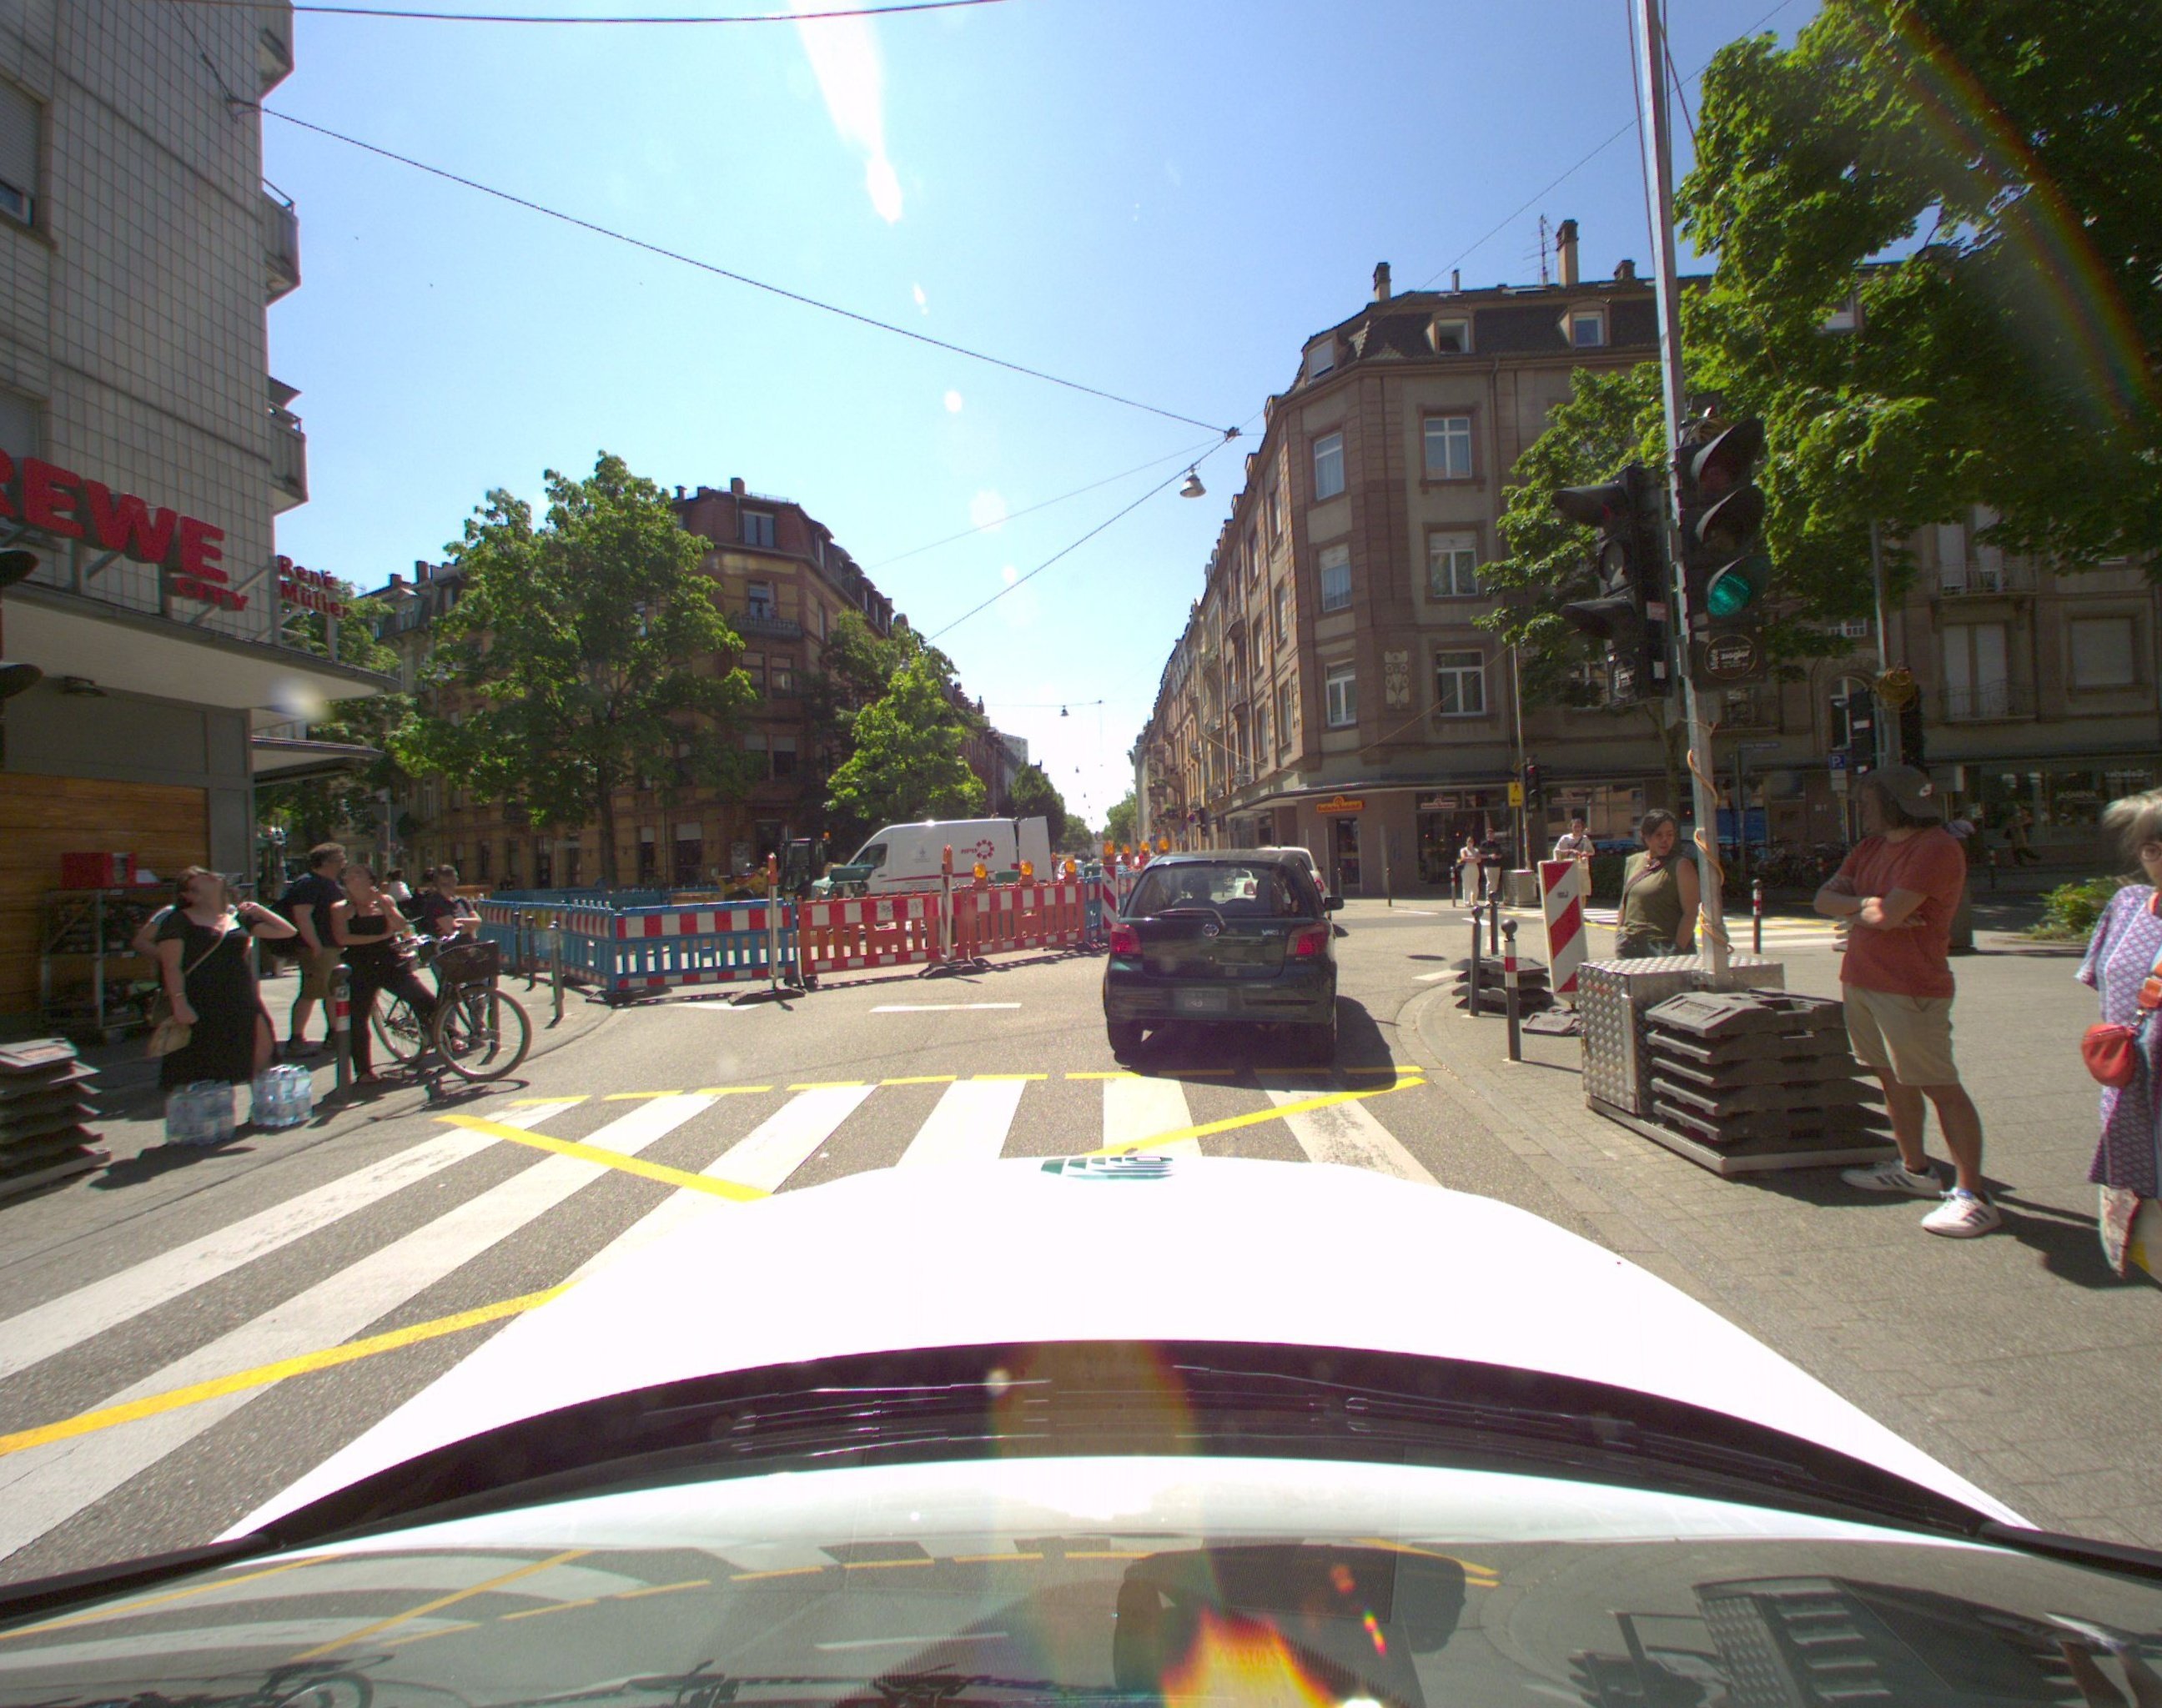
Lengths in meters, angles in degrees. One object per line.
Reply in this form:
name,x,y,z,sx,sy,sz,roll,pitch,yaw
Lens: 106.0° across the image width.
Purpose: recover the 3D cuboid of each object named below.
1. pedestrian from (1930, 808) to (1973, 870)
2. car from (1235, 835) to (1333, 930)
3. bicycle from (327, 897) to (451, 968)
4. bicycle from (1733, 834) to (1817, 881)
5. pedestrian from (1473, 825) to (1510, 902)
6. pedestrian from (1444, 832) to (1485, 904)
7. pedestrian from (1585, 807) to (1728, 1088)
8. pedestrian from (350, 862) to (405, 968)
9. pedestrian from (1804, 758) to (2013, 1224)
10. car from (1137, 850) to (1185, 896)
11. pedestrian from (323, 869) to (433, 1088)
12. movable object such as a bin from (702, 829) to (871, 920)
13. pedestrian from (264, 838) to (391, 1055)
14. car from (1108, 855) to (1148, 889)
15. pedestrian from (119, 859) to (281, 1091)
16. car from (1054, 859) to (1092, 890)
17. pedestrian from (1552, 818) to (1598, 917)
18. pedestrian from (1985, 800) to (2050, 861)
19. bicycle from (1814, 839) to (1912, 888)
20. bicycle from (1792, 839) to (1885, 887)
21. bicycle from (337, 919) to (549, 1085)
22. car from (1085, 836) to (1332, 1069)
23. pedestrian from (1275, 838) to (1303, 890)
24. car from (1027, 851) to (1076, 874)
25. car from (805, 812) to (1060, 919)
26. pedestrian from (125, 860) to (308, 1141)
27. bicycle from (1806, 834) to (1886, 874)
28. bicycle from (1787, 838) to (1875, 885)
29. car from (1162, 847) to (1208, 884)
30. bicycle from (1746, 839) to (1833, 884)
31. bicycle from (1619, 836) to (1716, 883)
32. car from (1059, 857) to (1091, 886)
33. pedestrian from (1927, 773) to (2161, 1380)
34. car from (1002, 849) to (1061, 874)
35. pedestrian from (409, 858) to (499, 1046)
pedestrian,23.188,-0.402,21.704,0.488,1.614,0.560,-3,0,6
car,3.814,0.458,15.012,1.510,1.521,3.278,-2,0,17
bicycle,-11.758,1.320,13.865,1.573,1.072,0.341,-3,-1,-16
bicycle,17.421,0.080,20.453,1.756,1.080,0.470,-3,1,-3
pedestrian,9.811,0.220,19.469,0.574,1.768,0.470,-5,3,-7
pedestrian,9.099,0.324,19.322,0.701,1.645,0.422,-5,3,-7
pedestrian,3.362,0.527,4.791,0.457,1.560,0.480,-2,0,7
pedestrian,-11.752,1.001,13.614,0.385,1.715,0.594,-3,-1,40
pedestrian,3.170,0.496,3.148,0.330,1.675,0.402,-2,-1,7
car,3.034,0.690,31.393,1.517,1.592,3.264,-2,0,0
pedestrian,-5.337,0.905,6.188,0.491,1.565,0.462,0,0,27
movable object such as a bin,-9.095,0.613,25.452,4.530,2.659,1.954,-1,-1,-1
pedestrian,-6.670,0.786,7.236,0.507,1.820,0.599,-2,-1,-1
car,2.569,0.970,45.388,1.987,1.618,4.001,-5,0,1
pedestrian,-6.602,0.868,6.131,0.507,1.633,0.599,-2,-1,-1
car,-0.385,1.037,42.757,1.748,1.444,4.001,-3,0,2
pedestrian,8.896,0.243,14.693,0.473,1.733,0.876,-3,-2,20
pedestrian,26.176,-0.652,22.780,0.853,1.634,0.787,-3,0,0
bicycle,17.266,0.199,17.991,1.756,0.996,0.470,-3,2,-3
bicycle,17.319,0.202,18.624,1.756,0.996,0.470,-3,2,-3
bicycle,-5.026,1.107,6.396,1.789,1.119,0.470,-1,0,22
car,1.284,0.648,6.984,1.601,1.485,3.255,-2,0,17
pedestrian,6.629,0.316,25.940,0.639,1.623,0.804,-2,0,1
car,-3.073,0.903,84.591,4.582,2.187,1.983,-2,0,-26
car,-3.989,0.323,22.817,6.595,2.751,2.381,-1,0,2
pedestrian,-5.359,0.867,5.075,0.539,1.633,0.511,-2,-1,-1
bicycle,20.338,-0.007,21.652,1.719,0.996,0.504,-3,2,-3
bicycle,17.636,0.167,19.155,1.680,1.005,0.470,-3,2,-3
car,5.313,0.574,42.169,1.864,1.713,4.506,-4,0,2
bicycle,17.301,0.183,19.902,1.756,0.996,0.470,-3,2,-3
bicycle,15.359,0.142,21.372,1.964,1.132,0.519,-3,0,19
car,-0.350,1.074,51.916,1.748,1.645,4.379,-5,0,2
pedestrian,2.911,0.558,2.284,0.490,1.543,0.437,-5,-1,7
car,-4.359,0.672,72.158,4.801,1.994,2.035,-2,0,-28
pedestrian,-5.636,0.857,7.338,0.388,1.618,0.475,-2,-1,-1
